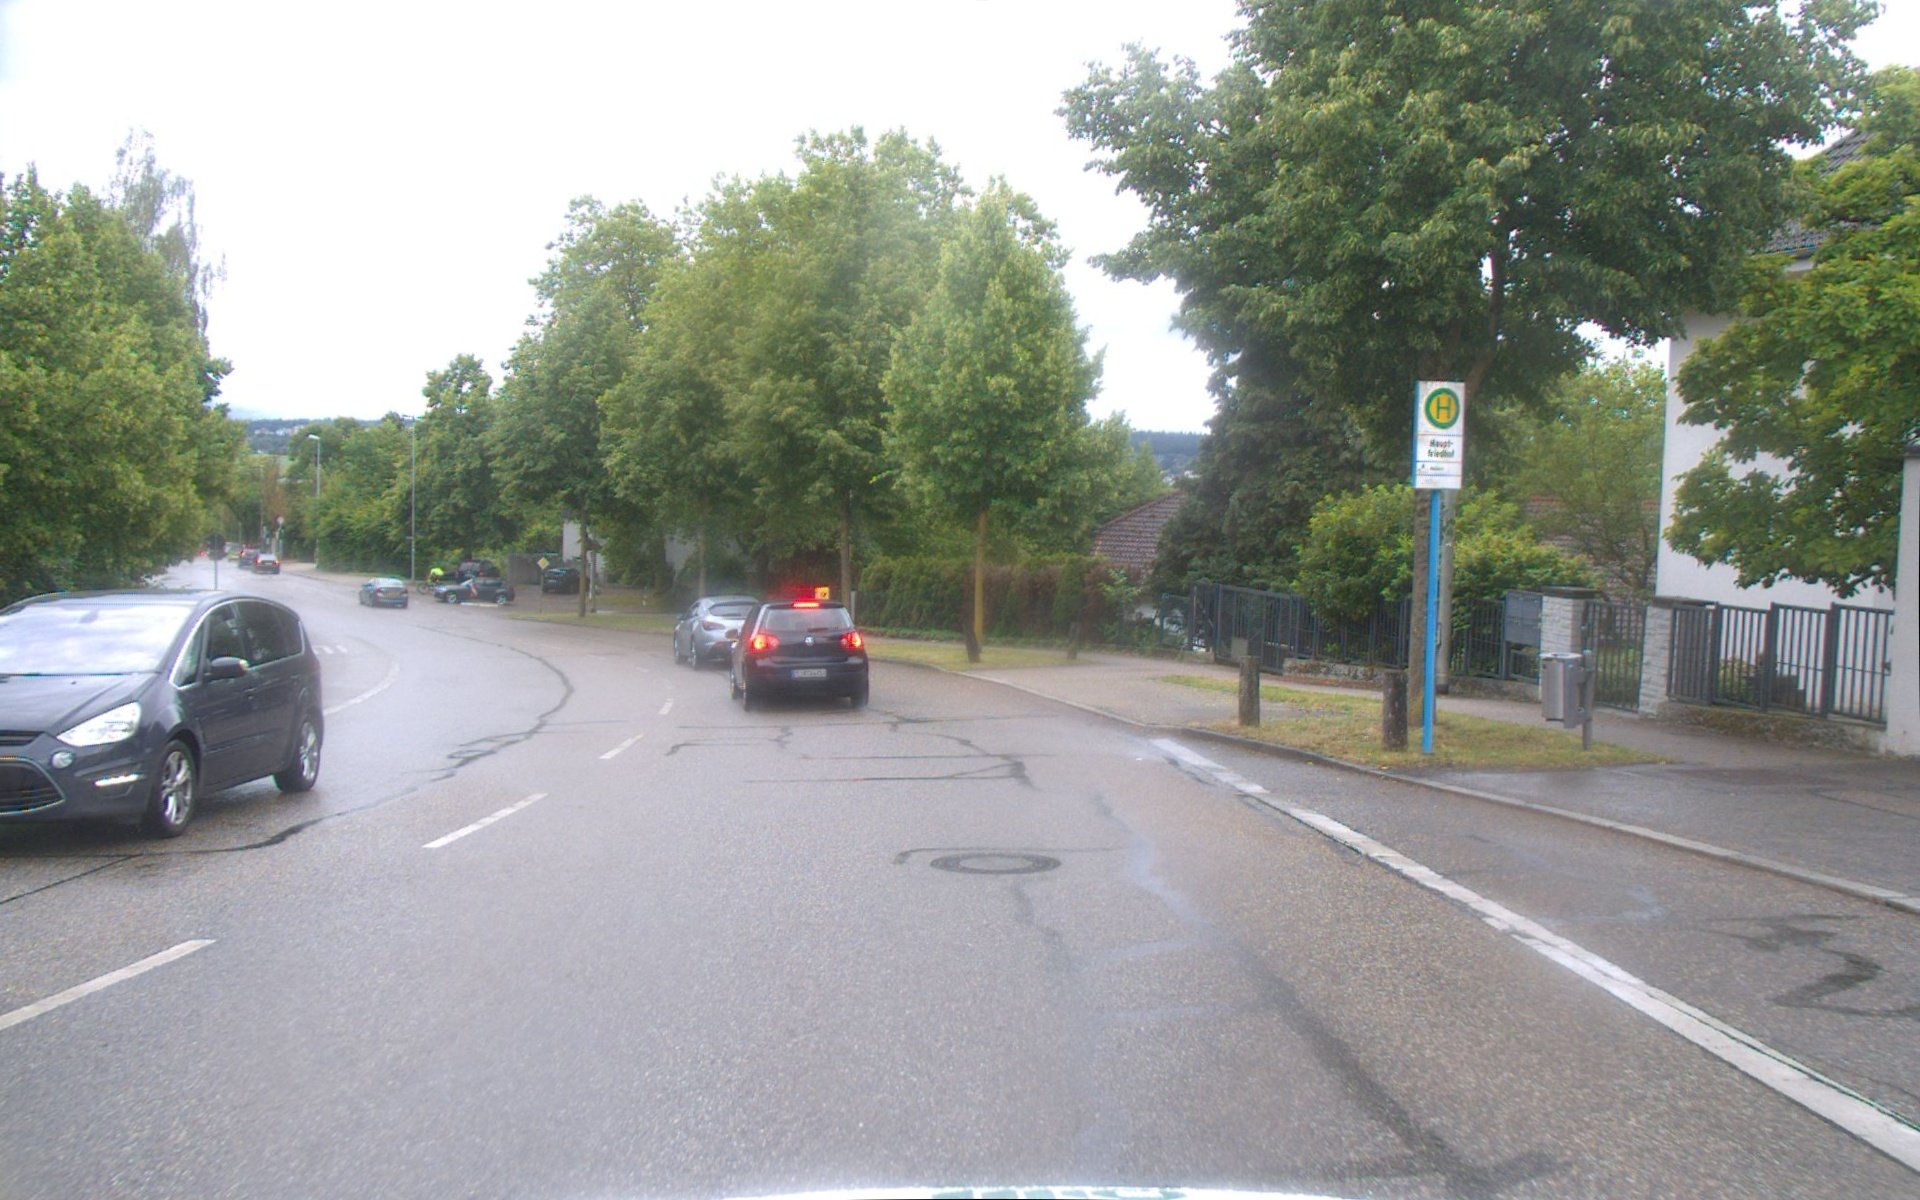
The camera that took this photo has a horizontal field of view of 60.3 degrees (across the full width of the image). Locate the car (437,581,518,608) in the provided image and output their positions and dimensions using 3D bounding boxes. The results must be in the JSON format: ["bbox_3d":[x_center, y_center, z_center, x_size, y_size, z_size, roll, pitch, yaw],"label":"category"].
[{"bbox_3d":[-26.255,-0.302,89.980,4.071,1.408,1.714,1,0,-24],"label":"car"}]

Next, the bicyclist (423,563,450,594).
[{"bbox_3d":[-30.163,-1.229,95.288,1.254,1.786,0.855,1,0,7],"label":"bicyclist"}]

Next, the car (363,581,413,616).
[{"bbox_3d":[-28.334,-0.103,81.874,1.701,1.489,3.965,4,0,-27],"label":"car"}]

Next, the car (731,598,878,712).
[{"bbox_3d":[-2.317,0.722,23.764,1.691,1.489,3.989,1,0,-11],"label":"car"}]

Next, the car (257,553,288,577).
[{"bbox_3d":[-49.414,-2.531,118.866,1.701,1.489,3.965,4,0,-27],"label":"car"}]

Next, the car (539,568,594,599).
[{"bbox_3d":[-24.069,-1.044,101.274,1.714,1.494,4.571,4,4,8],"label":"car"}]

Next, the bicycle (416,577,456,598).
[{"bbox_3d":[-30.170,-0.704,95.290,1.988,1.175,0.855,1,0,7],"label":"bicycle"}]

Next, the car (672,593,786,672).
[{"bbox_3d":[-4.961,0.644,35.132,1.727,1.489,3.980,0,1,-18],"label":"car"}]

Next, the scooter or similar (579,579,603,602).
[{"bbox_3d":[-22.252,-0.576,99.688,1.325,1.308,0.555,-1,2,-36],"label":"scooter or similar"}]

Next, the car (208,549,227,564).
[{"bbox_3d":[-83.659,-4.893,186.355,1.701,1.489,3.965,4,0,-27],"label":"car"}]

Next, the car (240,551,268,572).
[{"bbox_3d":[-56.876,-3.128,133.206,1.701,1.489,3.965,4,0,-27],"label":"car"}]

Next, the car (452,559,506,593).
[{"bbox_3d":[-29.390,-1.481,101.267,1.908,1.718,4.904,3,4,-1],"label":"car"}]

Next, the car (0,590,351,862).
[{"bbox_3d":[-6.015,0.740,12.076,1.775,1.604,4.680,1,0,-5],"label":"car"}]
